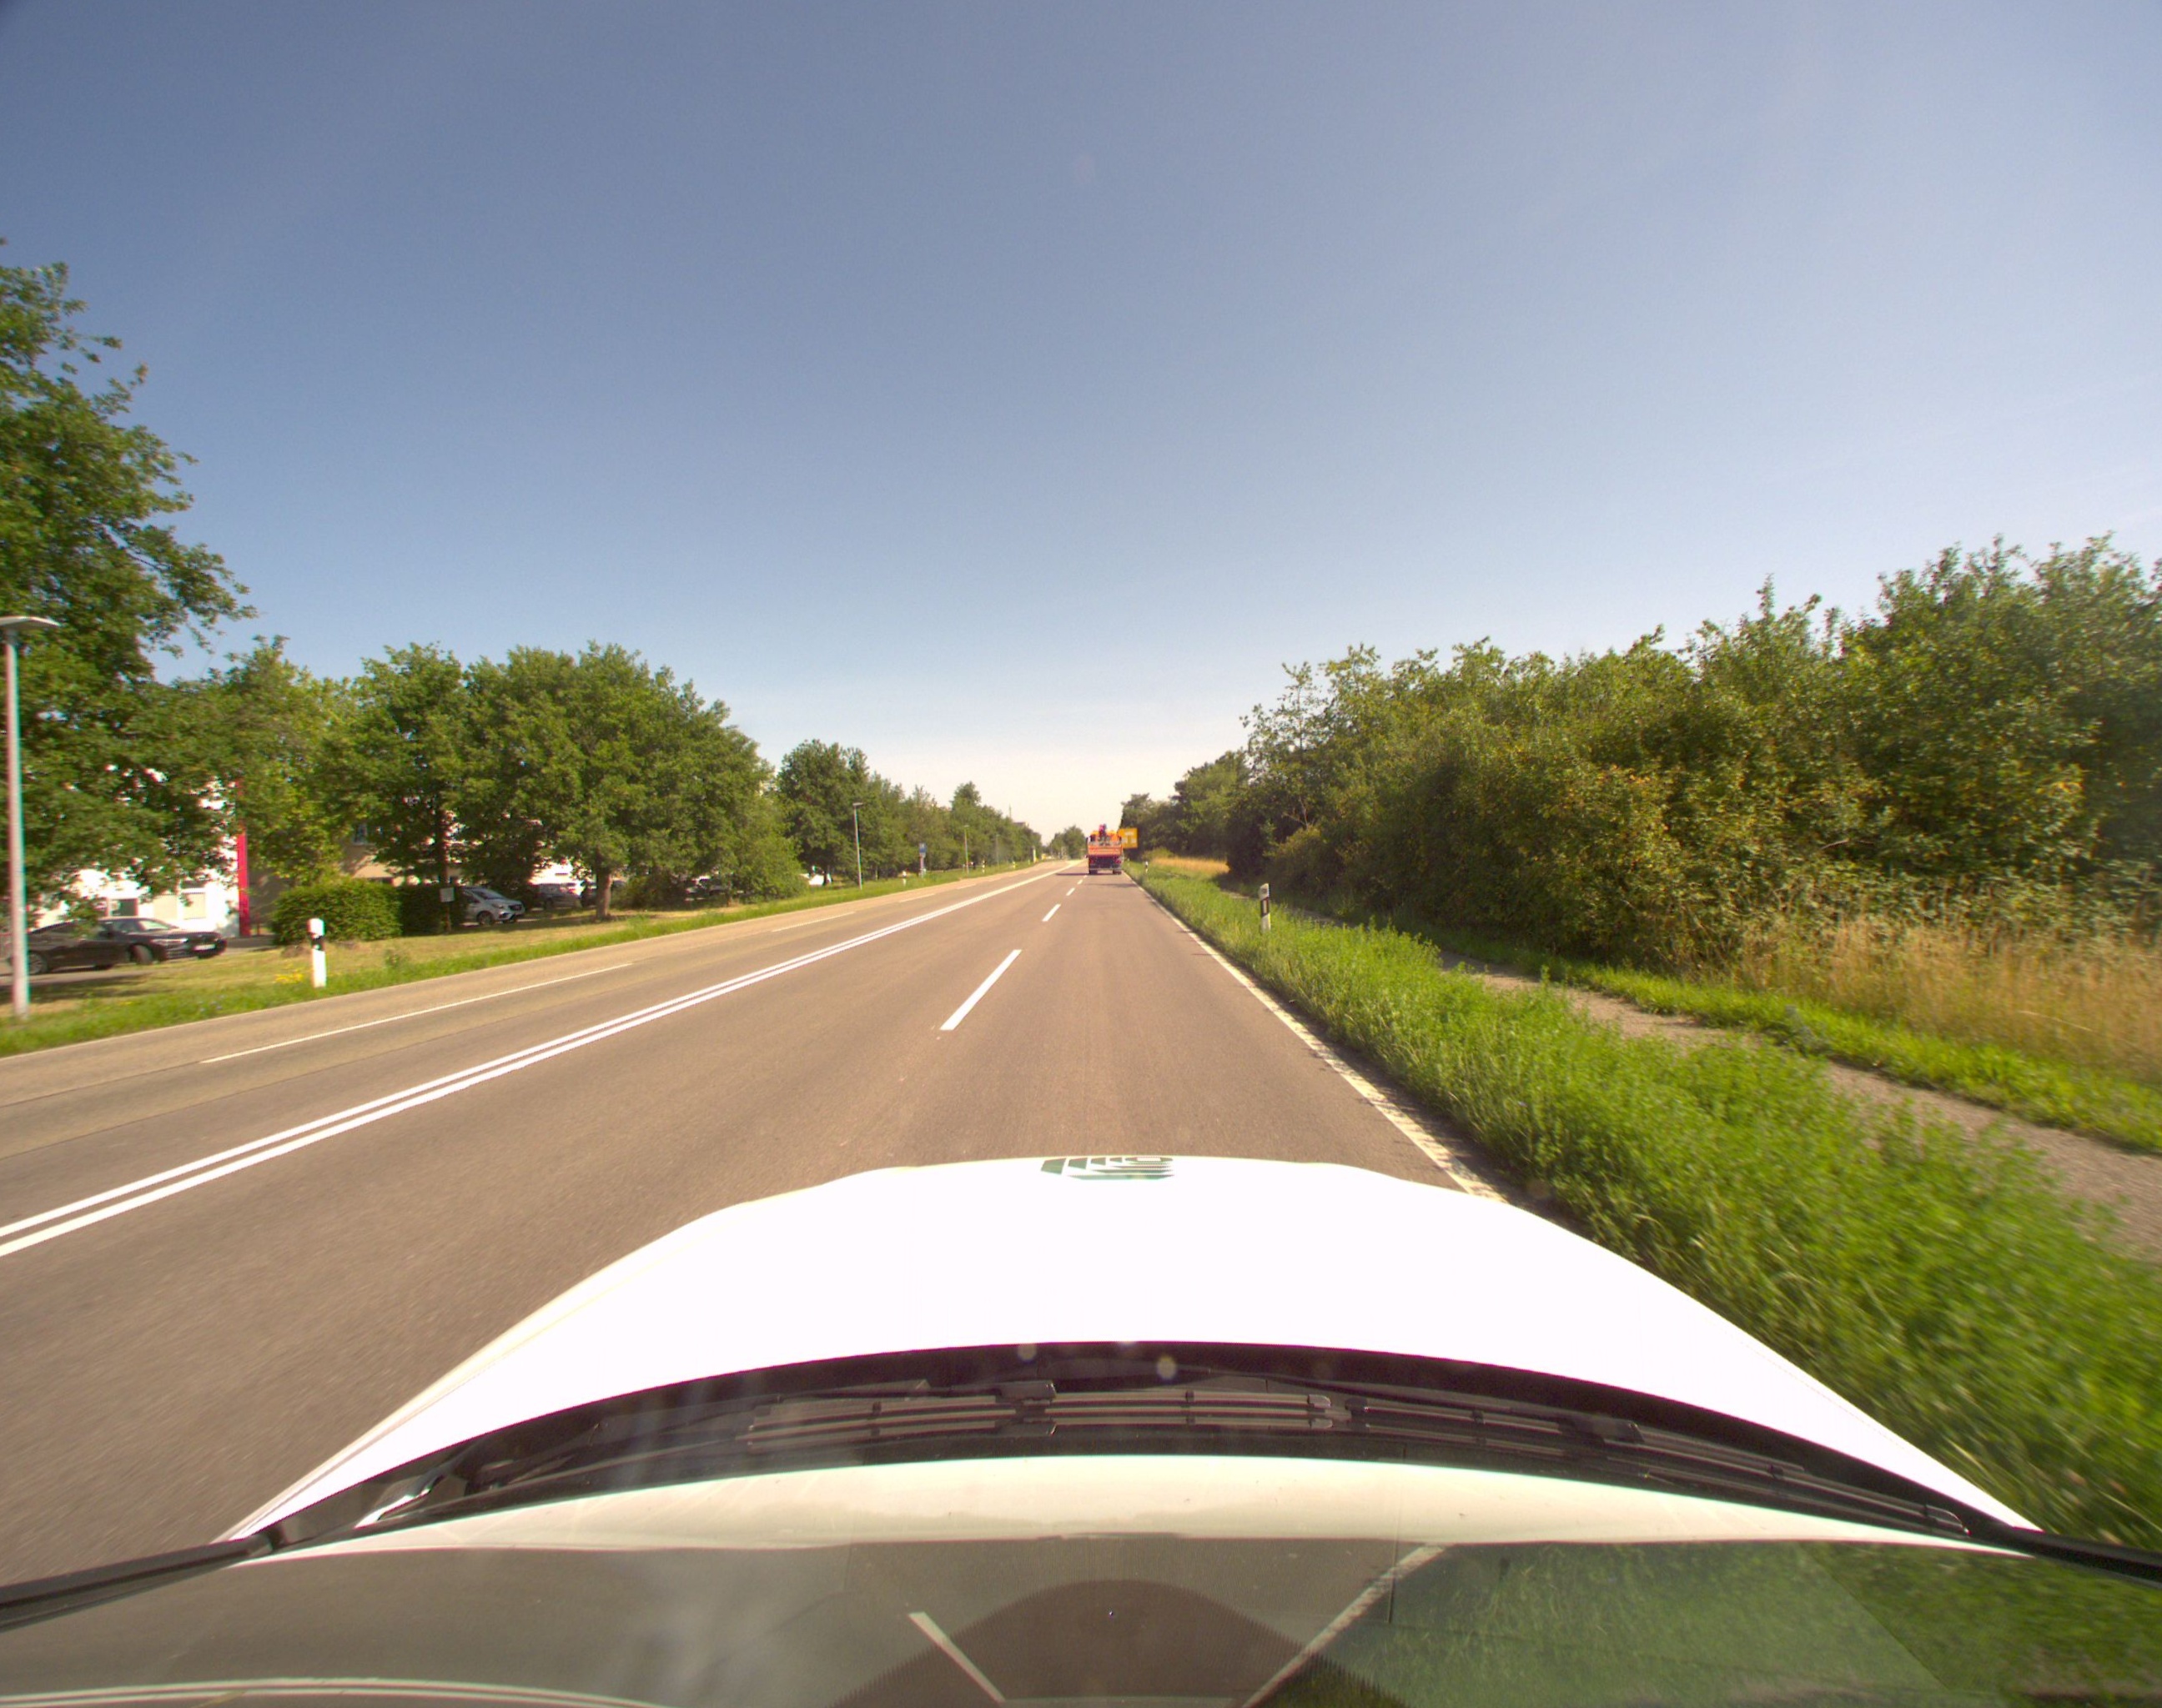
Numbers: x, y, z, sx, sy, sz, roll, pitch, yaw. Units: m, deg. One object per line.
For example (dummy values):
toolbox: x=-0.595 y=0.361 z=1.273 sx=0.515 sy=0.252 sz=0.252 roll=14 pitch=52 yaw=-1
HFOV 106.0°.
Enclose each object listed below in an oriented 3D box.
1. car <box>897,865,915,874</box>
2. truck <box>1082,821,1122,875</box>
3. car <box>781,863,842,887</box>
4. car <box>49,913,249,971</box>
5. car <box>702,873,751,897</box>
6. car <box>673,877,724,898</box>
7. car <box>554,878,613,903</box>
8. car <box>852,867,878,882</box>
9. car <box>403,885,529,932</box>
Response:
car: x=-33.076 y=2.907 z=154.231 sx=1.985 sy=1.437 sz=4.958 roll=-2 pitch=0 yaw=3
truck: x=1.531 y=-0.457 z=62.769 sx=2.863 sy=3.880 sz=7.397 roll=0 pitch=0 yaw=-1
car: x=-24.519 y=1.905 z=74.278 sx=2.047 sy=1.929 sz=5.048 roll=-3 pitch=0 yaw=32
car: x=-28.436 y=2.672 z=24.946 sx=3.972 sy=1.306 sz=1.864 roll=-4 pitch=0 yaw=2
car: x=-27.590 y=2.389 z=63.494 sx=1.922 sy=1.652 sz=4.191 roll=-2 pitch=0 yaw=0
car: x=-29.904 y=2.573 z=63.810 sx=1.922 sy=1.394 sz=4.191 roll=-2 pitch=0 yaw=0
car: x=-38.054 y=2.745 z=62.429 sx=1.849 sy=1.658 sz=4.170 roll=-2 pitch=0 yaw=1
car: x=-25.596 y=2.396 z=96.615 sx=1.737 sy=1.578 sz=4.550 roll=-3 pitch=0 yaw=1
car: x=-28.393 y=2.479 z=37.715 sx=4.208 sy=1.730 sz=2.000 roll=-4 pitch=0 yaw=1
